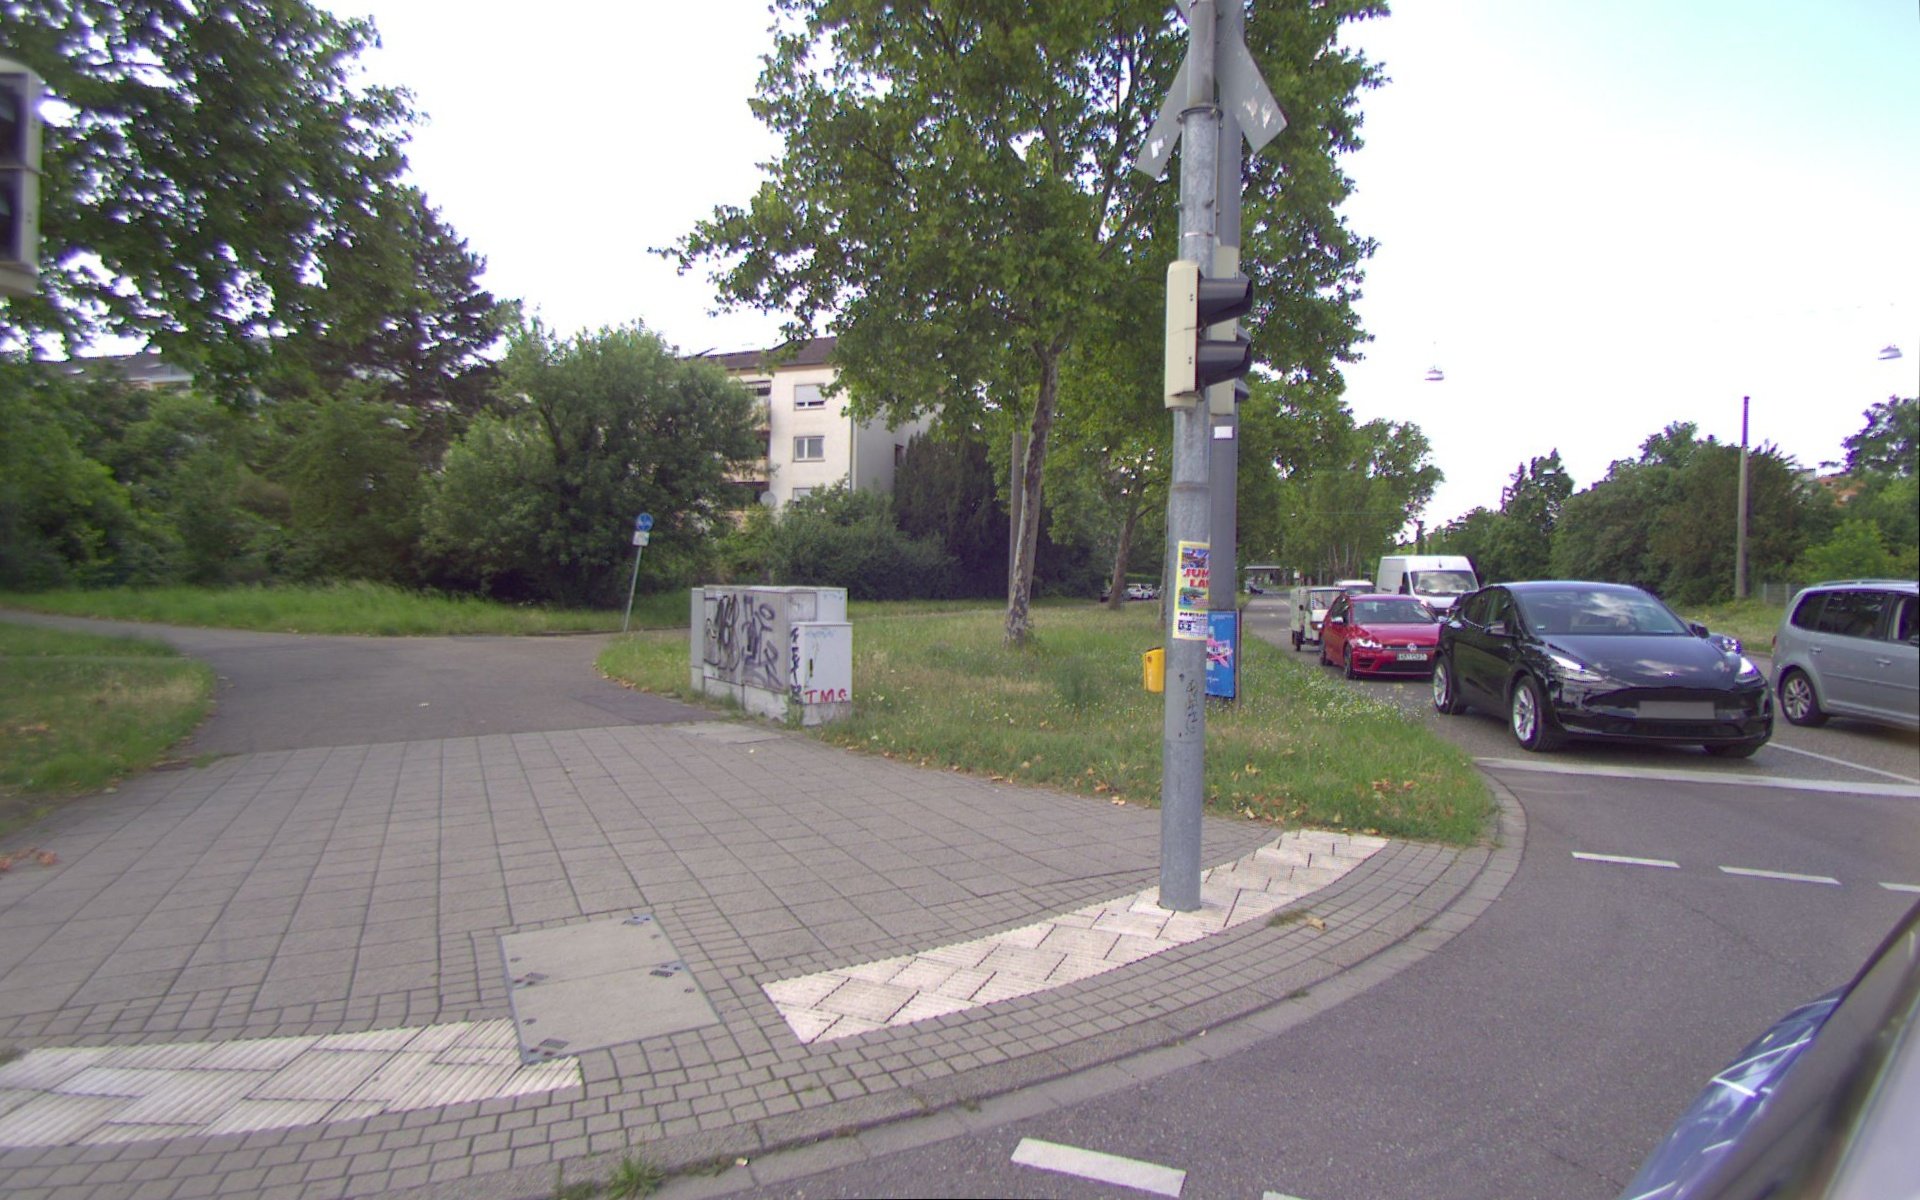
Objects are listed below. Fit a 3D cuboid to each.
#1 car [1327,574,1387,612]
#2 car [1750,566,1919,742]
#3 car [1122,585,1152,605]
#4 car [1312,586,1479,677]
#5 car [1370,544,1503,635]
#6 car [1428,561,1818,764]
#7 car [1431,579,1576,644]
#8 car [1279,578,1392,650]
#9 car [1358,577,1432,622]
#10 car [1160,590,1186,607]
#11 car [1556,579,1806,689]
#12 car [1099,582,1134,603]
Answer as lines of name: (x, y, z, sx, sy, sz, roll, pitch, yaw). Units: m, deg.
car: (18.424, -0.345, 47.141, 1.736, 1.667, 4.332, 1, 1, 10)
car: (10.072, 0.493, 9.790, 1.900, 1.672, 4.490, -1, 1, 10)
car: (15.867, -0.450, 90.614, 1.759, 1.616, 3.622, 1, -1, 26)
car: (7.734, 0.483, 18.422, 1.773, 1.408, 4.490, -1, 1, 10)
car: (14.609, -0.351, 31.459, 2.192, 2.561, 5.917, -1, 1, 10)
car: (6.599, 0.476, 10.795, 1.902, 1.672, 4.564, -1, 1, 12)
car: (12.758, 0.204, 24.082, 1.736, 1.392, 4.332, -1, 1, 10)
car: (9.036, 0.277, 24.732, 1.773, 1.589, 4.490, -1, 1, 10)
car: (16.760, -0.051, 39.197, 1.815, 1.638, 4.142, 0, 1, 11)
car: (22.024, -0.152, 104.649, 1.759, 1.616, 3.622, 1, -1, 26)
car: (11.337, 0.449, 16.288, 1.776, 1.527, 3.987, -1, 1, 12)
car: (12.724, -0.615, 82.229, 1.759, 1.616, 3.622, 1, -1, 26)
